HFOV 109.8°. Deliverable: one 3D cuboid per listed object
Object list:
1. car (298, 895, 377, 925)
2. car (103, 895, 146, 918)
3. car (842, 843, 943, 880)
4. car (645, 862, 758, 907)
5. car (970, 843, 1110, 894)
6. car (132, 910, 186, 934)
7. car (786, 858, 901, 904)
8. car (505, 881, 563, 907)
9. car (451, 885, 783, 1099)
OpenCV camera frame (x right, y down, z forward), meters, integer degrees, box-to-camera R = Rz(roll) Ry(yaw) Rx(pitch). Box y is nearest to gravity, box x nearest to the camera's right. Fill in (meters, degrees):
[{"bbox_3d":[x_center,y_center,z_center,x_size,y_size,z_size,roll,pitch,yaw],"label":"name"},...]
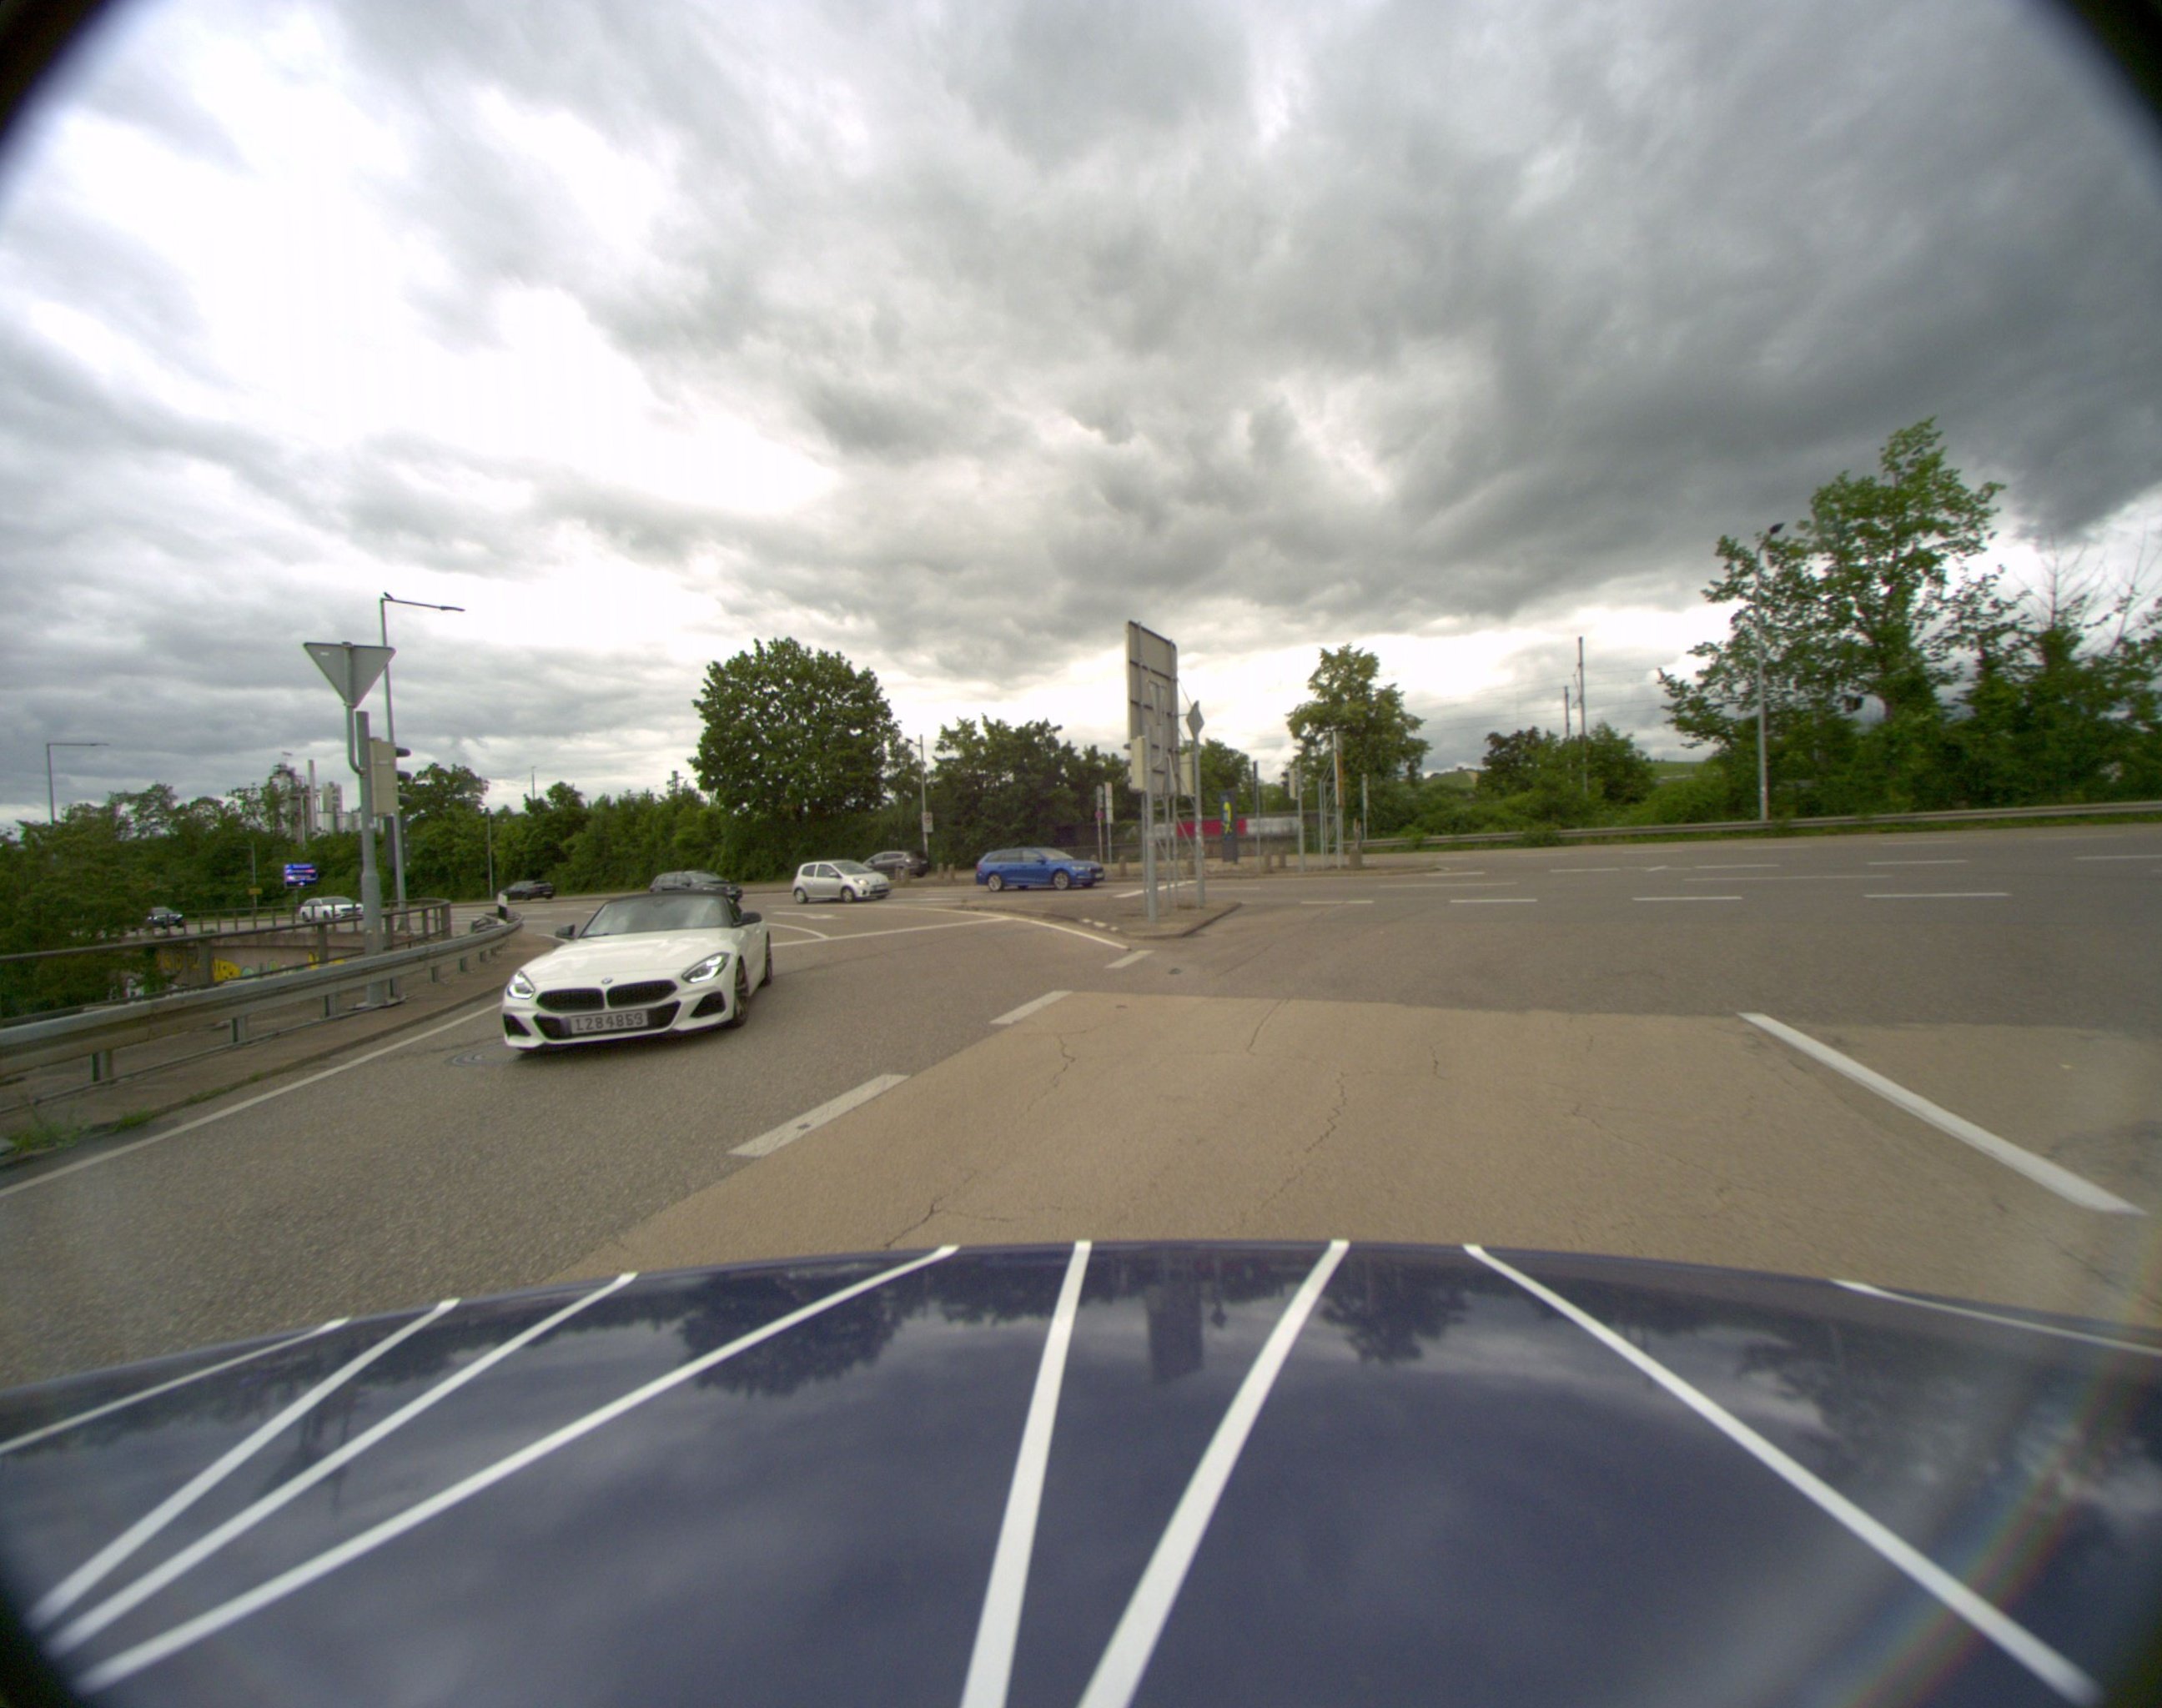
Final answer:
[{"bbox_3d":[-46.103,3.488,47.123,4.704,1.552,1.880,-4,1,25],"label":"car"},{"bbox_3d":[-94.651,5.189,75.165,3.592,2.002,1.652,-2,1,23],"label":"car"},{"bbox_3d":[-10.940,0.457,44.008,5.480,1.746,2.137,-3,1,26],"label":"car"},{"bbox_3d":[-15.704,1.265,31.421,4.284,1.548,1.951,-3,1,29],"label":"car"},{"bbox_3d":[-1.436,0.513,25.796,4.531,1.446,1.612,-3,2,31],"label":"car"},{"bbox_3d":[-70.065,5.155,57.710,3.642,1.552,1.652,-3,1,25],"label":"car"},{"bbox_3d":[-8.281,0.941,26.439,3.740,1.366,1.631,-3,1,30],"label":"car"},{"bbox_3d":[-38.843,2.847,53.967,3.835,1.552,1.652,-3,1,27],"label":"car"},{"bbox_3d":[-4.589,1.172,8.452,1.865,1.337,4.818,-4,1,-16],"label":"car"}]
